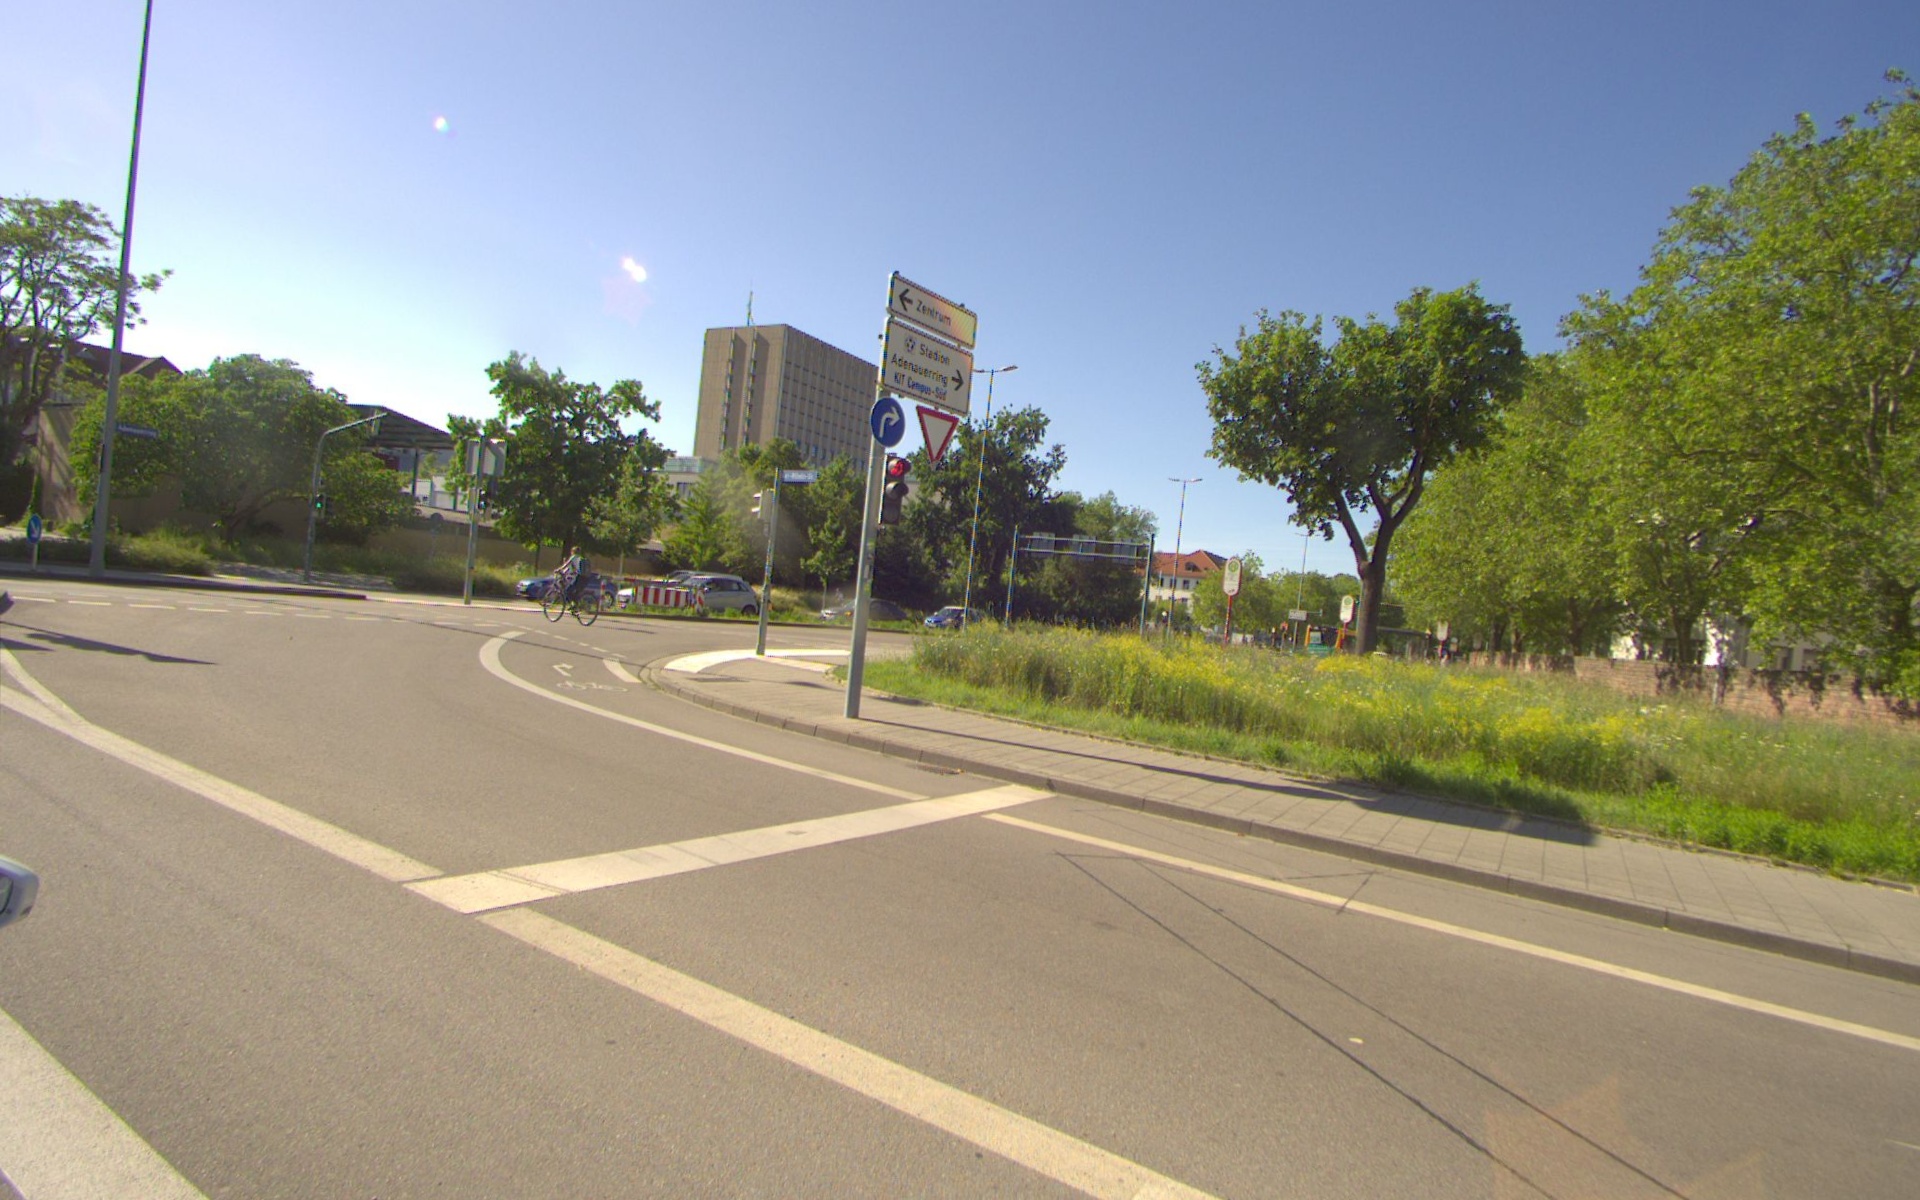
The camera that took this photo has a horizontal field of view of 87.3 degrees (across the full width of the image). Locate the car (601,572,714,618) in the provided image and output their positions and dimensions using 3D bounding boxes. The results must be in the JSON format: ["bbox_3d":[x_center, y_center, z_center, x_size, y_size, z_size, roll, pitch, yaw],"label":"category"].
[{"bbox_3d":[-12.503,-0.200,41.717,1.971,1.487,3.982,6,0,40],"label":"car"}]

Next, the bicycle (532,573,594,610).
[{"bbox_3d":[-13.930,-0.287,35.340,0.736,1.180,1.864,7,2,33],"label":"bicycle"}]

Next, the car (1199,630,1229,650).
[{"bbox_3d":[26.192,4.145,103.622,1.906,1.821,4.355,5,-1,28],"label":"car"}]

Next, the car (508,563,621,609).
[{"bbox_3d":[-16.195,-0.552,41.342,1.679,1.459,3.988,5,-1,35],"label":"car"}]

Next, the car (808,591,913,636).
[{"bbox_3d":[-4.353,0.640,44.592,1.953,1.573,4.709,5,-1,35],"label":"car"}]

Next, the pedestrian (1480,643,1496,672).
[{"bbox_3d":[31.419,3.413,59.886,0.642,1.630,0.558,7,-1,30],"label":"pedestrian"}]

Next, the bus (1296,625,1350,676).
[{"bbox_3d":[27.835,3.909,77.011,2.935,3.310,6.255,7,-2,26],"label":"bus"}]

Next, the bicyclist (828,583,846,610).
[{"bbox_3d":[-7.923,-0.232,64.799,0.620,1.617,0.830,9,3,29],"label":"bicyclist"}]

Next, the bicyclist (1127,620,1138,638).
[{"bbox_3d":[16.725,2.847,97.460,0.632,1.666,0.775,7,1,27],"label":"bicyclist"}]

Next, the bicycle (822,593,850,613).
[{"bbox_3d":[-7.978,0.188,64.833,0.632,1.180,1.952,9,3,29],"label":"bicycle"}]

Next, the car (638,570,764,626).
[{"bbox_3d":[-9.528,-0.054,37.335,1.762,1.644,4.303,5,-1,35],"label":"car"}]

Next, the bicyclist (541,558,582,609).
[{"bbox_3d":[-13.955,-0.569,35.249,0.734,1.707,0.974,7,2,34],"label":"bicyclist"}]

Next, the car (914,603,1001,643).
[{"bbox_3d":[-0.077,1.183,50.735,1.953,1.573,4.709,5,-1,35],"label":"car"}]

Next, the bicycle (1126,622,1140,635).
[{"bbox_3d":[16.747,2.748,97.486,0.632,1.179,1.867,7,0,28],"label":"bicycle"}]

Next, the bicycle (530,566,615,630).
[{"bbox_3d":[-8.640,-0.042,22.392,1.838,1.180,0.642,8,2,29],"label":"bicycle"}]

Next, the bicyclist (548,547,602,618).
[{"bbox_3d":[-8.545,-0.394,22.341,0.763,1.463,0.642,8,3,28],"label":"bicyclist"}]

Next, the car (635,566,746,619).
[{"bbox_3d":[-12.508,-0.328,46.951,1.909,1.976,4.742,5,-1,35],"label":"car"}]
